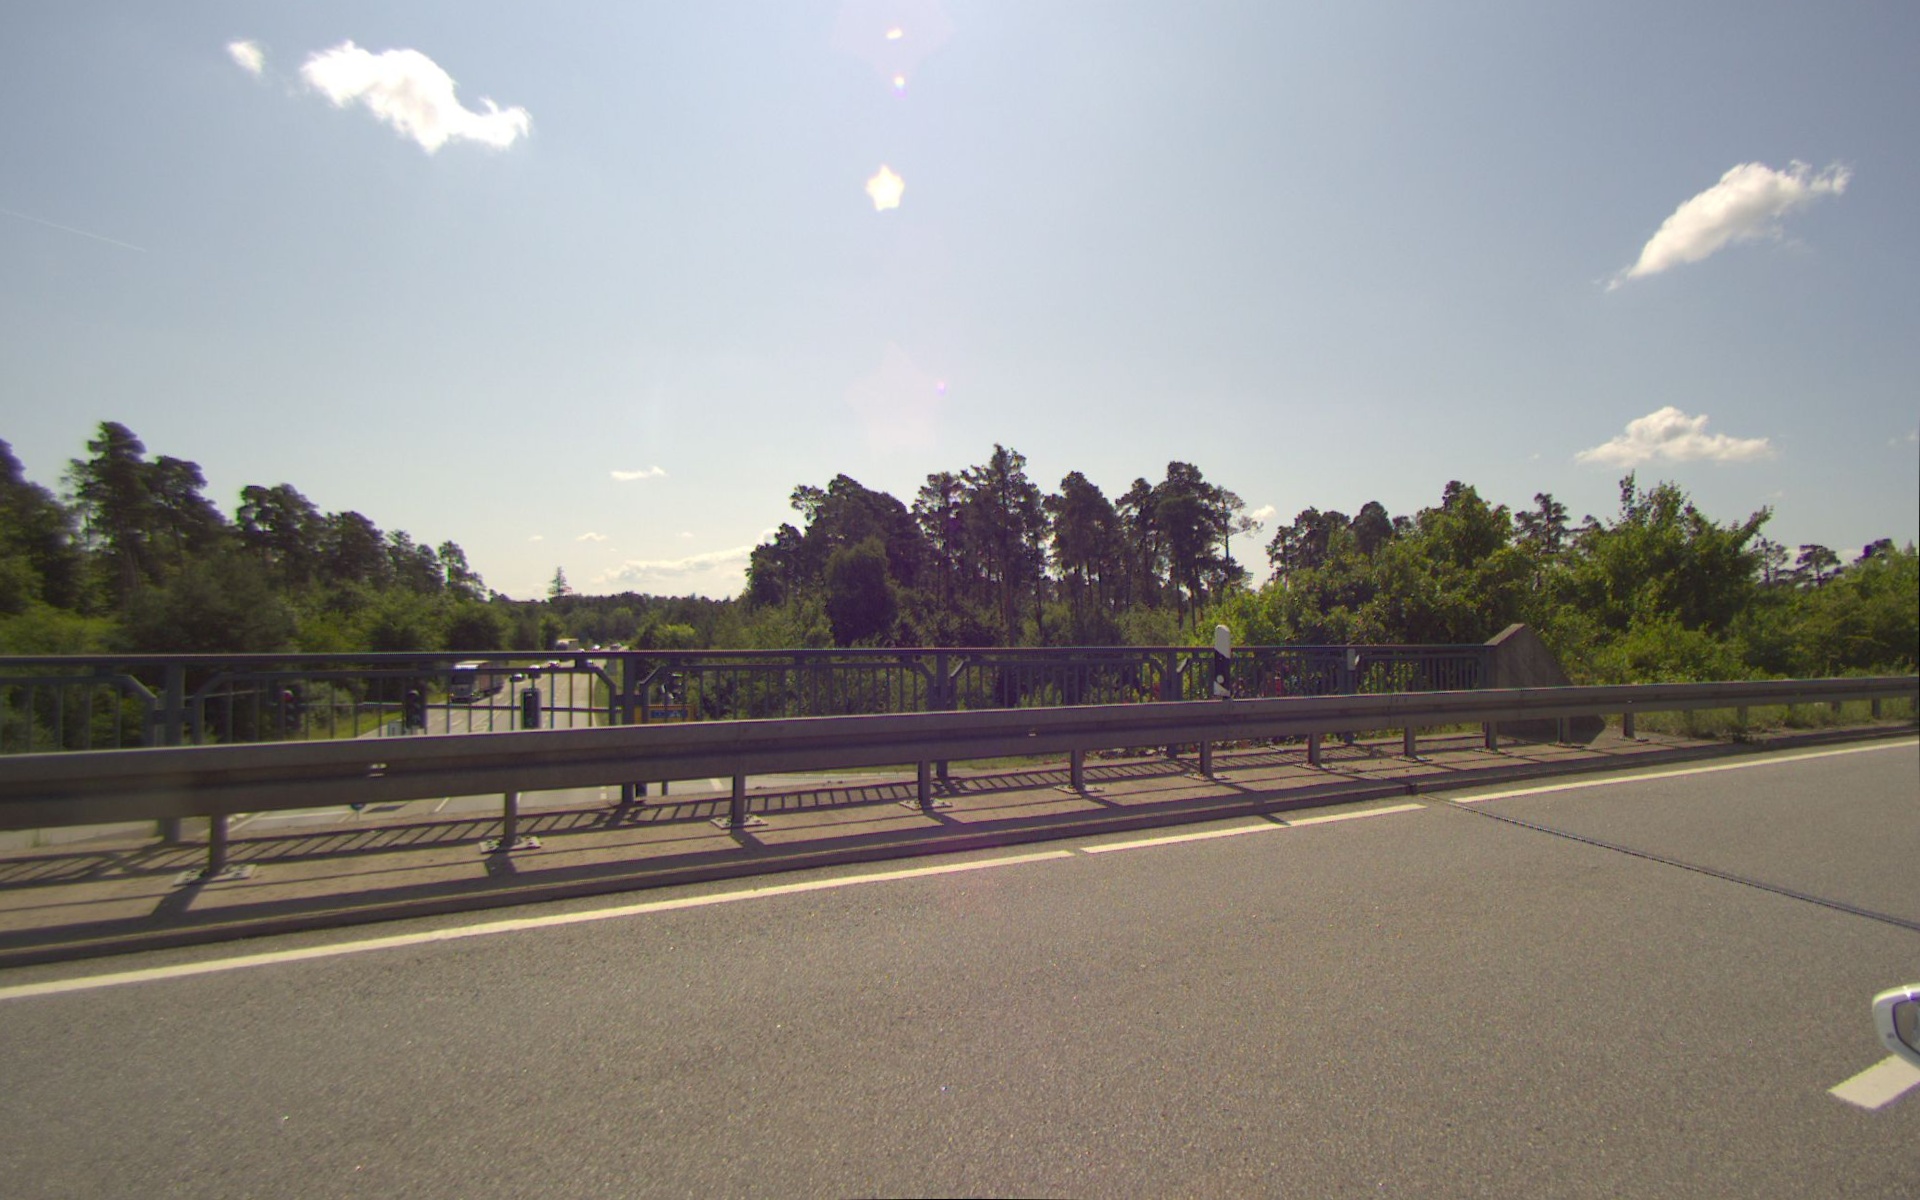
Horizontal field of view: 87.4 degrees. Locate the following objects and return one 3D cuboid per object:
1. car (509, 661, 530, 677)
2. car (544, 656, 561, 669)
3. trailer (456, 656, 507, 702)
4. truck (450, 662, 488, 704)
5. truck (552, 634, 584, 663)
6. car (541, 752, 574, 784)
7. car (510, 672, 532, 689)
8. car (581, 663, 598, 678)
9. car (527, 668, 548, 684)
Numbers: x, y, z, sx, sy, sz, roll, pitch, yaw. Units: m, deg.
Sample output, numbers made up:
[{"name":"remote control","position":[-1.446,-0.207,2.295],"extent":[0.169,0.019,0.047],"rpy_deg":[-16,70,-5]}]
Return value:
[{"name":"car","position":[-68.098,10.650,155.365],"extent":[2.107,1.913,4.803],"rpy_deg":[2,1,-15]},{"name":"car","position":[-73.317,11.244,180.863],"extent":[2.107,1.913,4.803],"rpy_deg":[2,1,-15]},{"name":"trailer","position":[-54.897,8.947,115.586],"extent":[2.571,4.056,14.345],"rpy_deg":[2,0,-15]},{"name":"truck","position":[-53.114,8.989,108.808],"extent":[2.571,4.056,5.323],"rpy_deg":[2,0,-15]},{"name":"truck","position":[-80.577,9.898,206.673],"extent":[3.561,4.972,14.612],"rpy_deg":[2,1,-12]},{"name":"car","position":[-21.516,8.947,53.677],"extent":[1.448,1.136,3.573],"rpy_deg":[1,-1,-25]},{"name":"car","position":[-61.459,11.217,140.710],"extent":[2.107,1.913,4.803],"rpy_deg":[2,1,-15]},{"name":"car","position":[-60.744,11.527,164.623],"extent":[2.107,1.913,4.803],"rpy_deg":[2,1,-15]},{"name":"car","position":[-62.476,11.178,148.610],"extent":[2.107,1.913,4.803],"rpy_deg":[2,1,-15]}]
